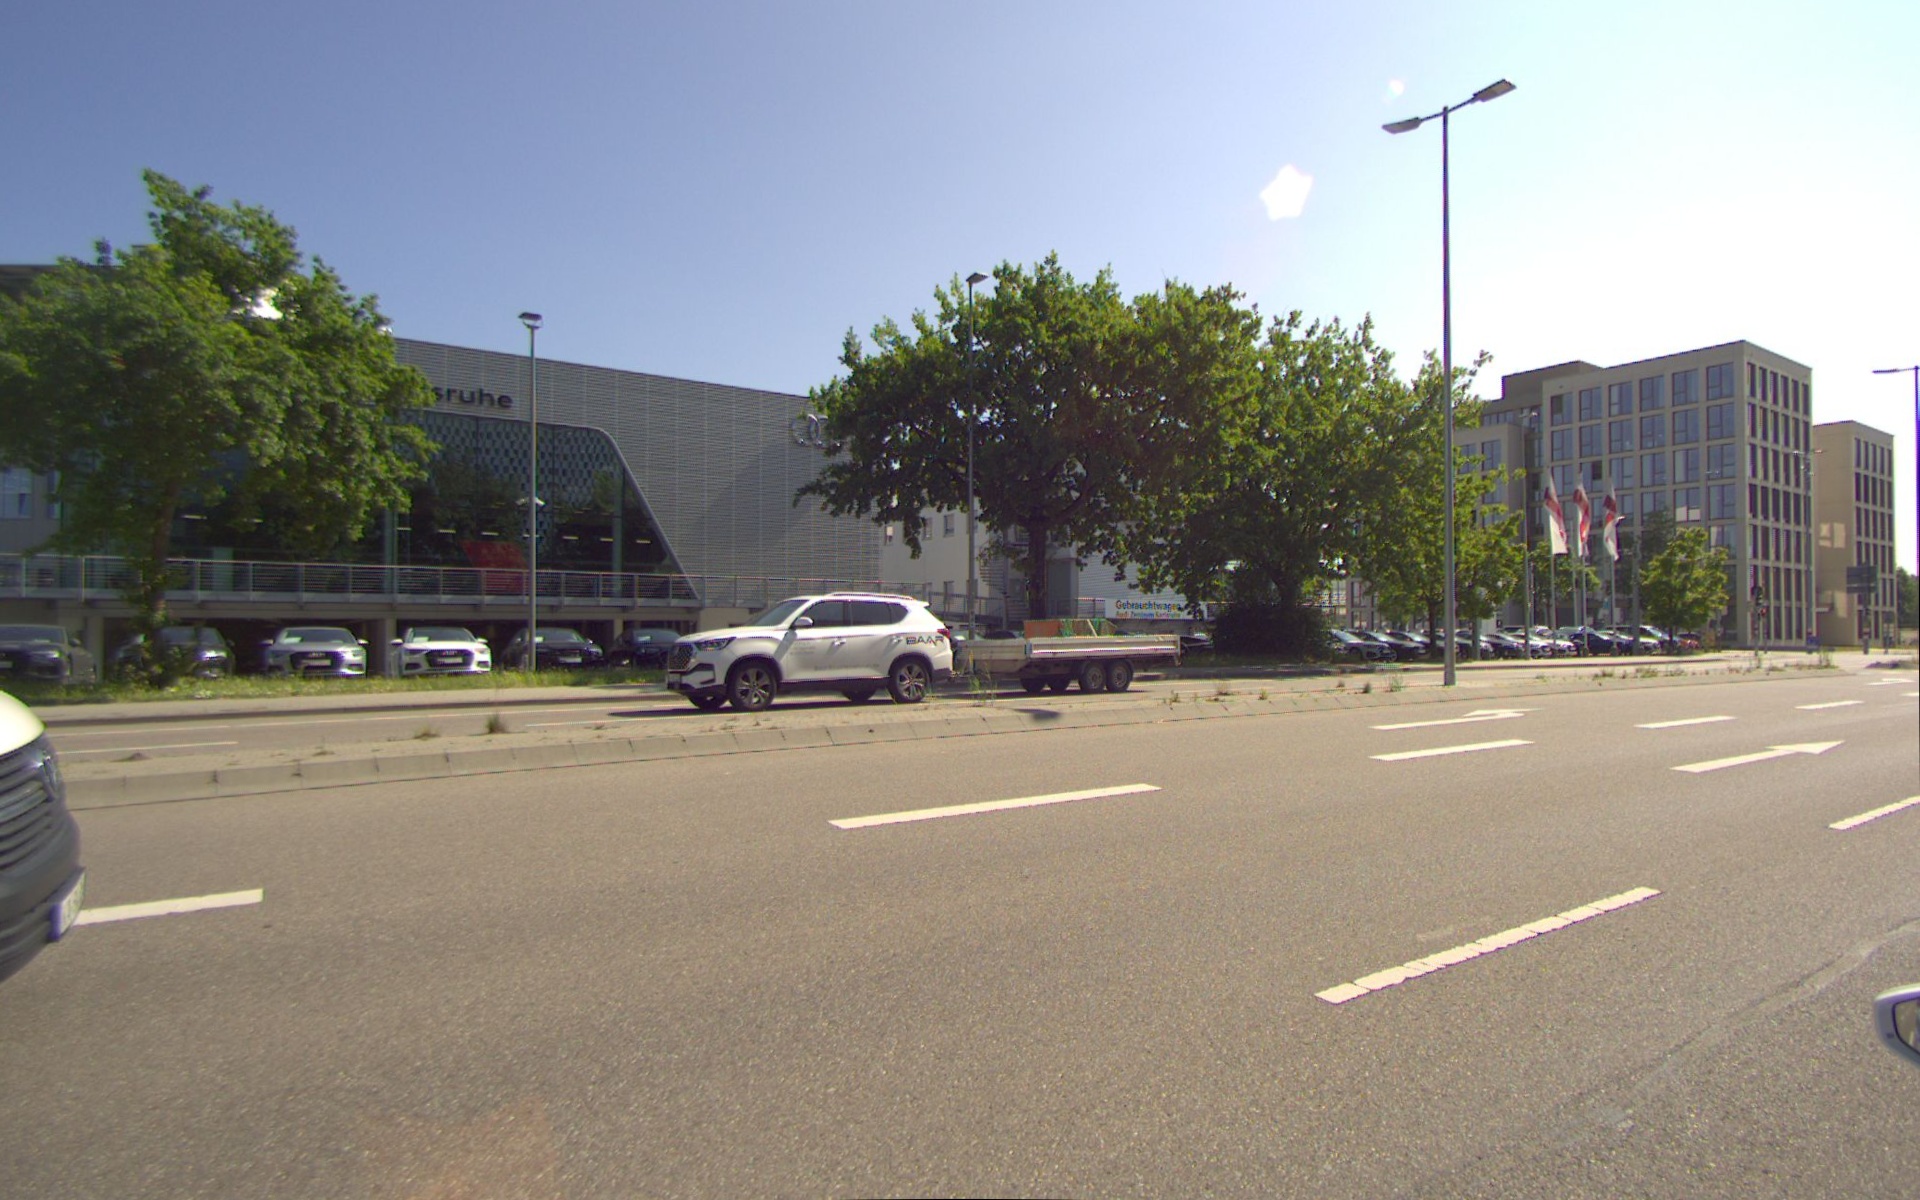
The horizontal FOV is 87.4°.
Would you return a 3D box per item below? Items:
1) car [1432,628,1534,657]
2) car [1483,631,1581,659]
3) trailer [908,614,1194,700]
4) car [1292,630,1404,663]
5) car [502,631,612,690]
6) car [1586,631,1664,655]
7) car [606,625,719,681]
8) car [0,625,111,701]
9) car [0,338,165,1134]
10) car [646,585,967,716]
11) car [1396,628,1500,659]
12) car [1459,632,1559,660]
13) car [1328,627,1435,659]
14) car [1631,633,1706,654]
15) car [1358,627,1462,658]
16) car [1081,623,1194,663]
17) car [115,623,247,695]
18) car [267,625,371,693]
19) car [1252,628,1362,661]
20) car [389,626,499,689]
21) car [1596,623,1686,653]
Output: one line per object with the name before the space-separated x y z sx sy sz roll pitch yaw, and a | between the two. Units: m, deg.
car | 25.547 2.069 49.177 1.979 1.361 3.963 1 -2 -34
car | 29.532 2.290 51.955 1.979 1.361 3.963 1 -2 -34
trailer | 1.907 1.049 19.695 5.716 1.472 1.980 1 -2 -36
car | 16.606 1.968 43.184 1.979 1.361 4.125 1 -2 -34
car | -10.358 1.482 25.671 1.903 1.394 3.965 1 -2 -33
car | 38.395 2.449 58.019 1.626 1.361 3.396 1 -2 -30
car | -8.075 1.387 27.081 1.903 1.394 3.965 1 -2 -33
car | -18.687 1.205 20.138 1.978 1.394 3.965 1 -2 -33
car | -4.841 0.334 2.016 4.924 2.020 1.870 1 -2 -35
car | -2.424 0.786 16.545 4.889 1.857 1.980 1 -2 -36
car | 23.081 2.035 47.628 1.980 1.361 3.961 1 -2 -35
car | 27.596 2.279 50.597 1.979 1.361 3.963 1 -2 -34
car | 18.710 1.900 44.736 1.979 1.361 3.963 1 -2 -34
car | 51.036 3.131 72.398 1.978 1.483 3.966 1 -2 -31
car | 20.578 1.923 46.058 1.979 1.361 3.963 1 -2 -34
car | 6.462 1.565 36.929 1.903 1.394 3.965 1 -2 -33
car | -16.599 1.217 21.589 1.845 1.394 3.965 1 -2 -33
car | -14.605 1.286 22.949 1.845 1.394 3.965 1 -2 -33
car | 14.435 1.832 41.916 1.979 1.329 3.963 1 -2 -34
car | -12.591 1.338 24.394 2.003 1.394 4.019 1 -2 -33
car | 48.044 2.657 70.965 1.978 2.077 4.889 1 -2 -31
